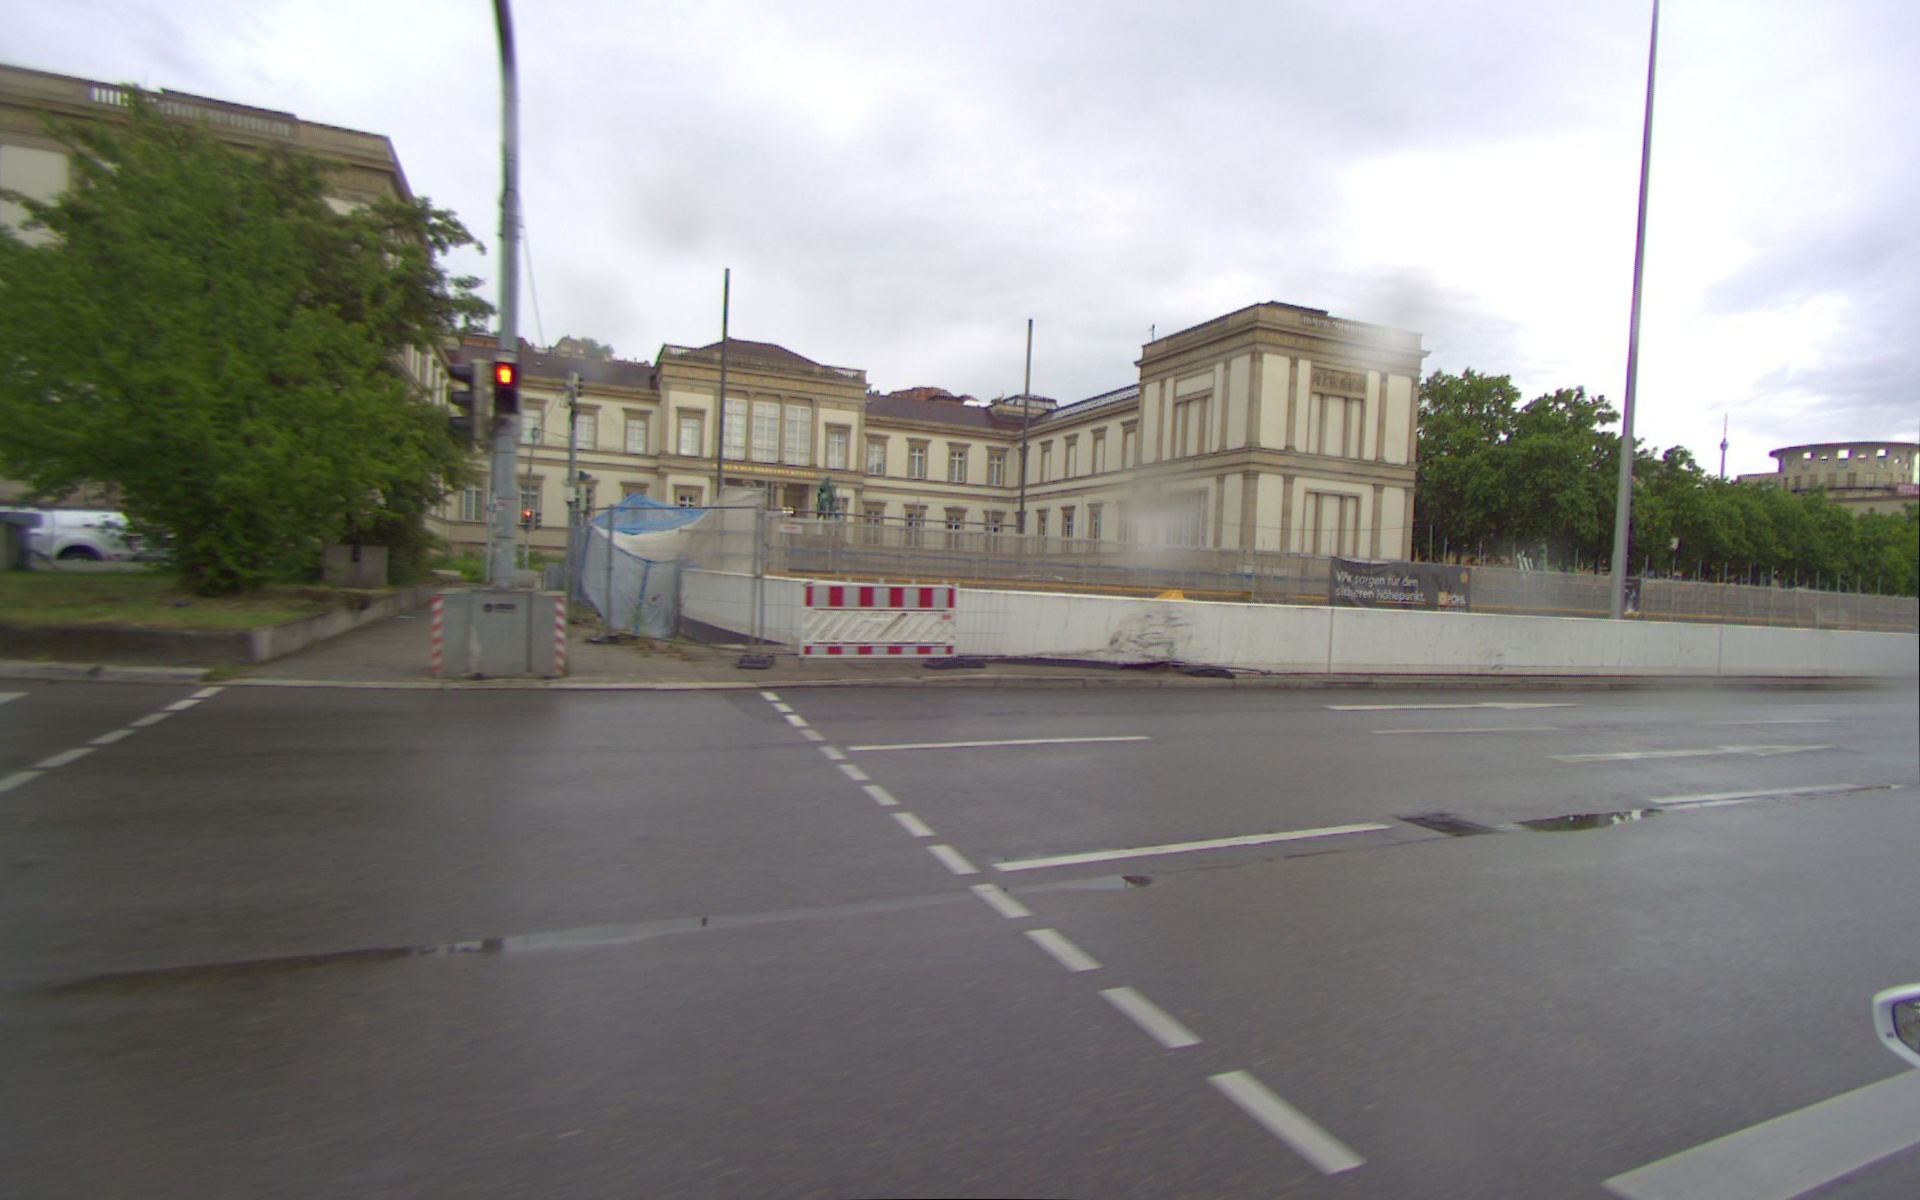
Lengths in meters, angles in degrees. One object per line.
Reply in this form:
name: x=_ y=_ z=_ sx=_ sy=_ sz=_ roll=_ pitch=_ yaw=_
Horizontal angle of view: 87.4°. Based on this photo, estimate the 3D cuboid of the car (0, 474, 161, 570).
car: x=-24.162 y=-2.094 z=25.761 sx=5.632 sy=2.202 sz=2.345 roll=3 pitch=3 yaw=-38
